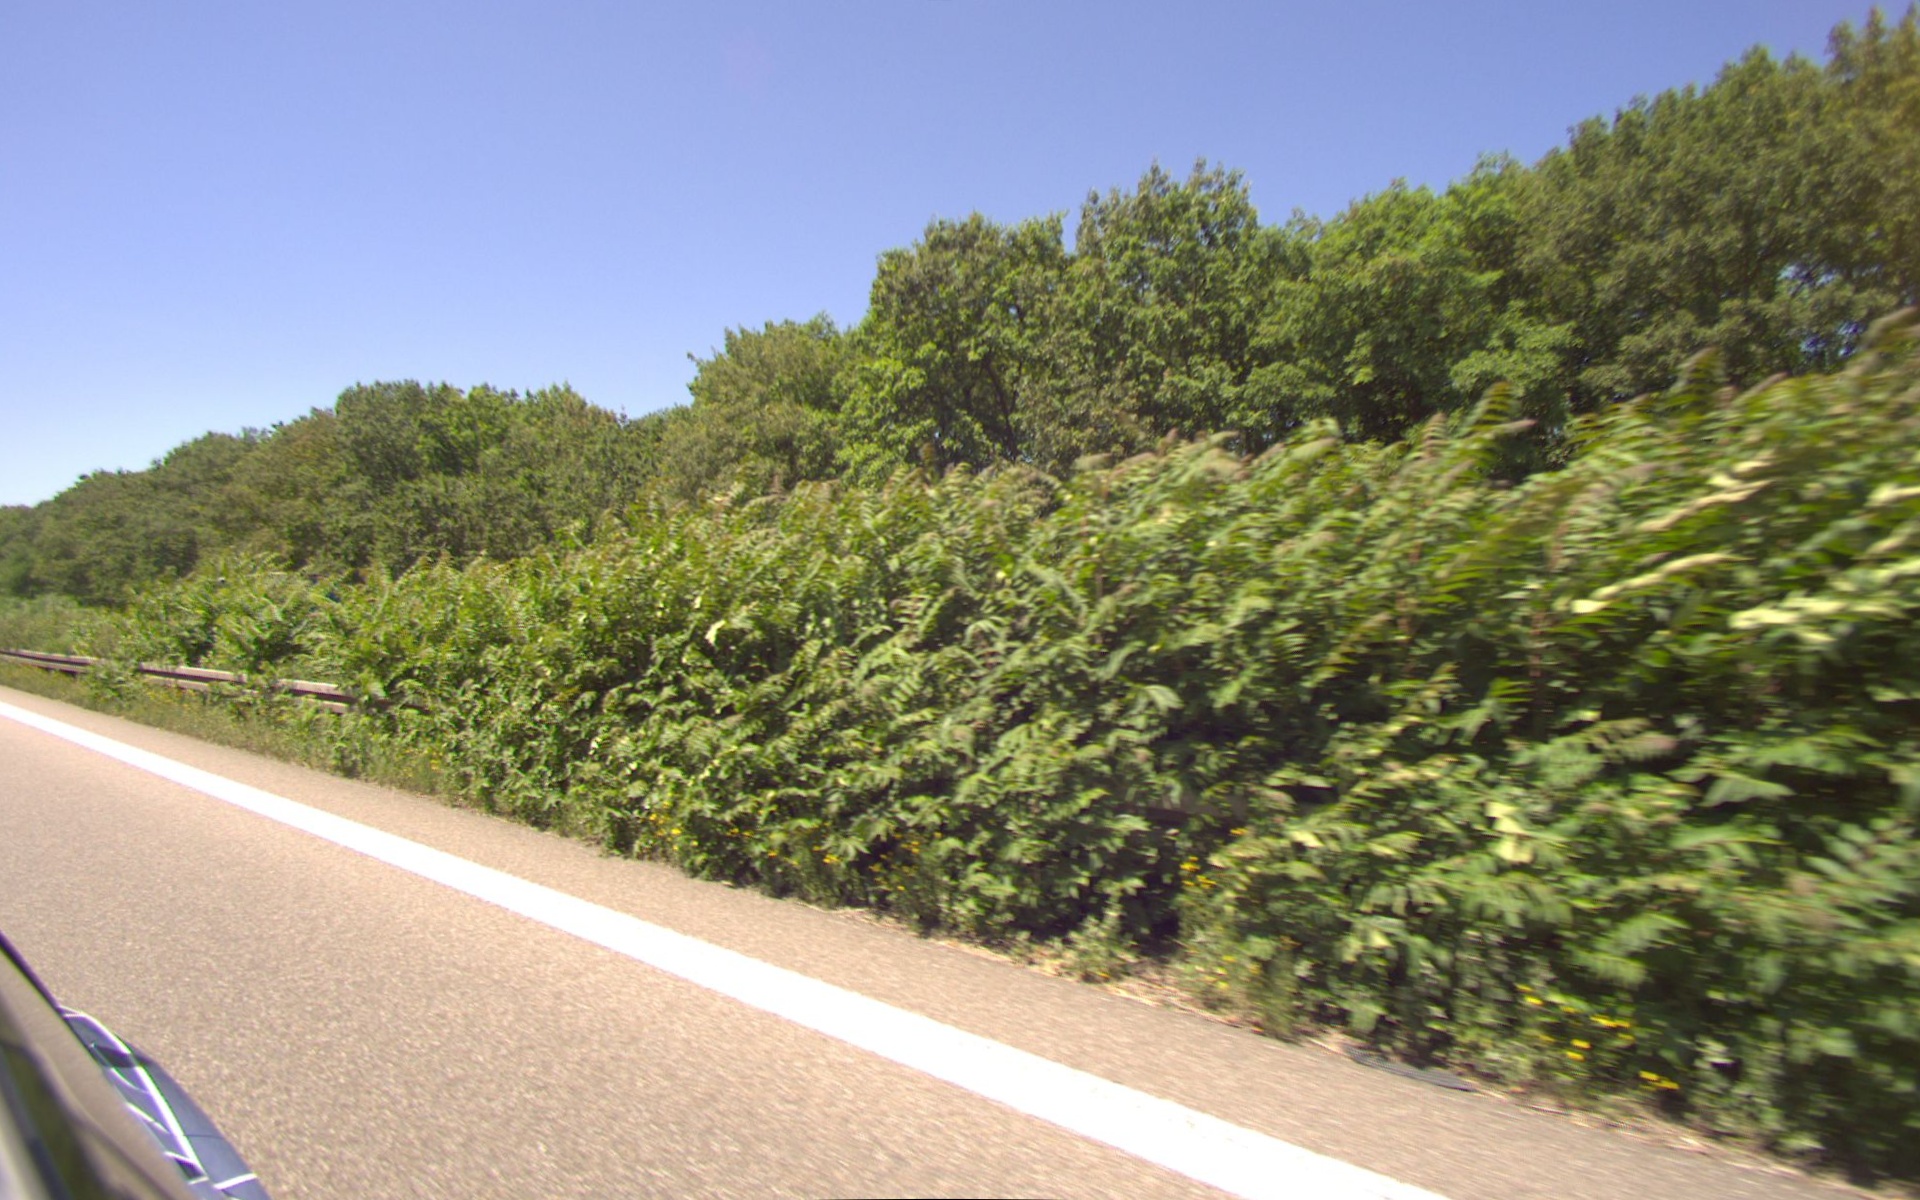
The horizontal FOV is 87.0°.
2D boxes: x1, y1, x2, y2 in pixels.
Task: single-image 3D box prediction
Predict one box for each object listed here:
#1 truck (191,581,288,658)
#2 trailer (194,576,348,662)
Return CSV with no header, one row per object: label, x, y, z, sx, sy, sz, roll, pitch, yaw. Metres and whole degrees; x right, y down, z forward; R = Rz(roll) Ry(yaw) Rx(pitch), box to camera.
truck,-39.724,1.066,55.742,5.866,4.001,2.789,-1,-2,39
trailer,-36.332,1.016,53.007,13.792,4.001,2.815,-1,-2,39
